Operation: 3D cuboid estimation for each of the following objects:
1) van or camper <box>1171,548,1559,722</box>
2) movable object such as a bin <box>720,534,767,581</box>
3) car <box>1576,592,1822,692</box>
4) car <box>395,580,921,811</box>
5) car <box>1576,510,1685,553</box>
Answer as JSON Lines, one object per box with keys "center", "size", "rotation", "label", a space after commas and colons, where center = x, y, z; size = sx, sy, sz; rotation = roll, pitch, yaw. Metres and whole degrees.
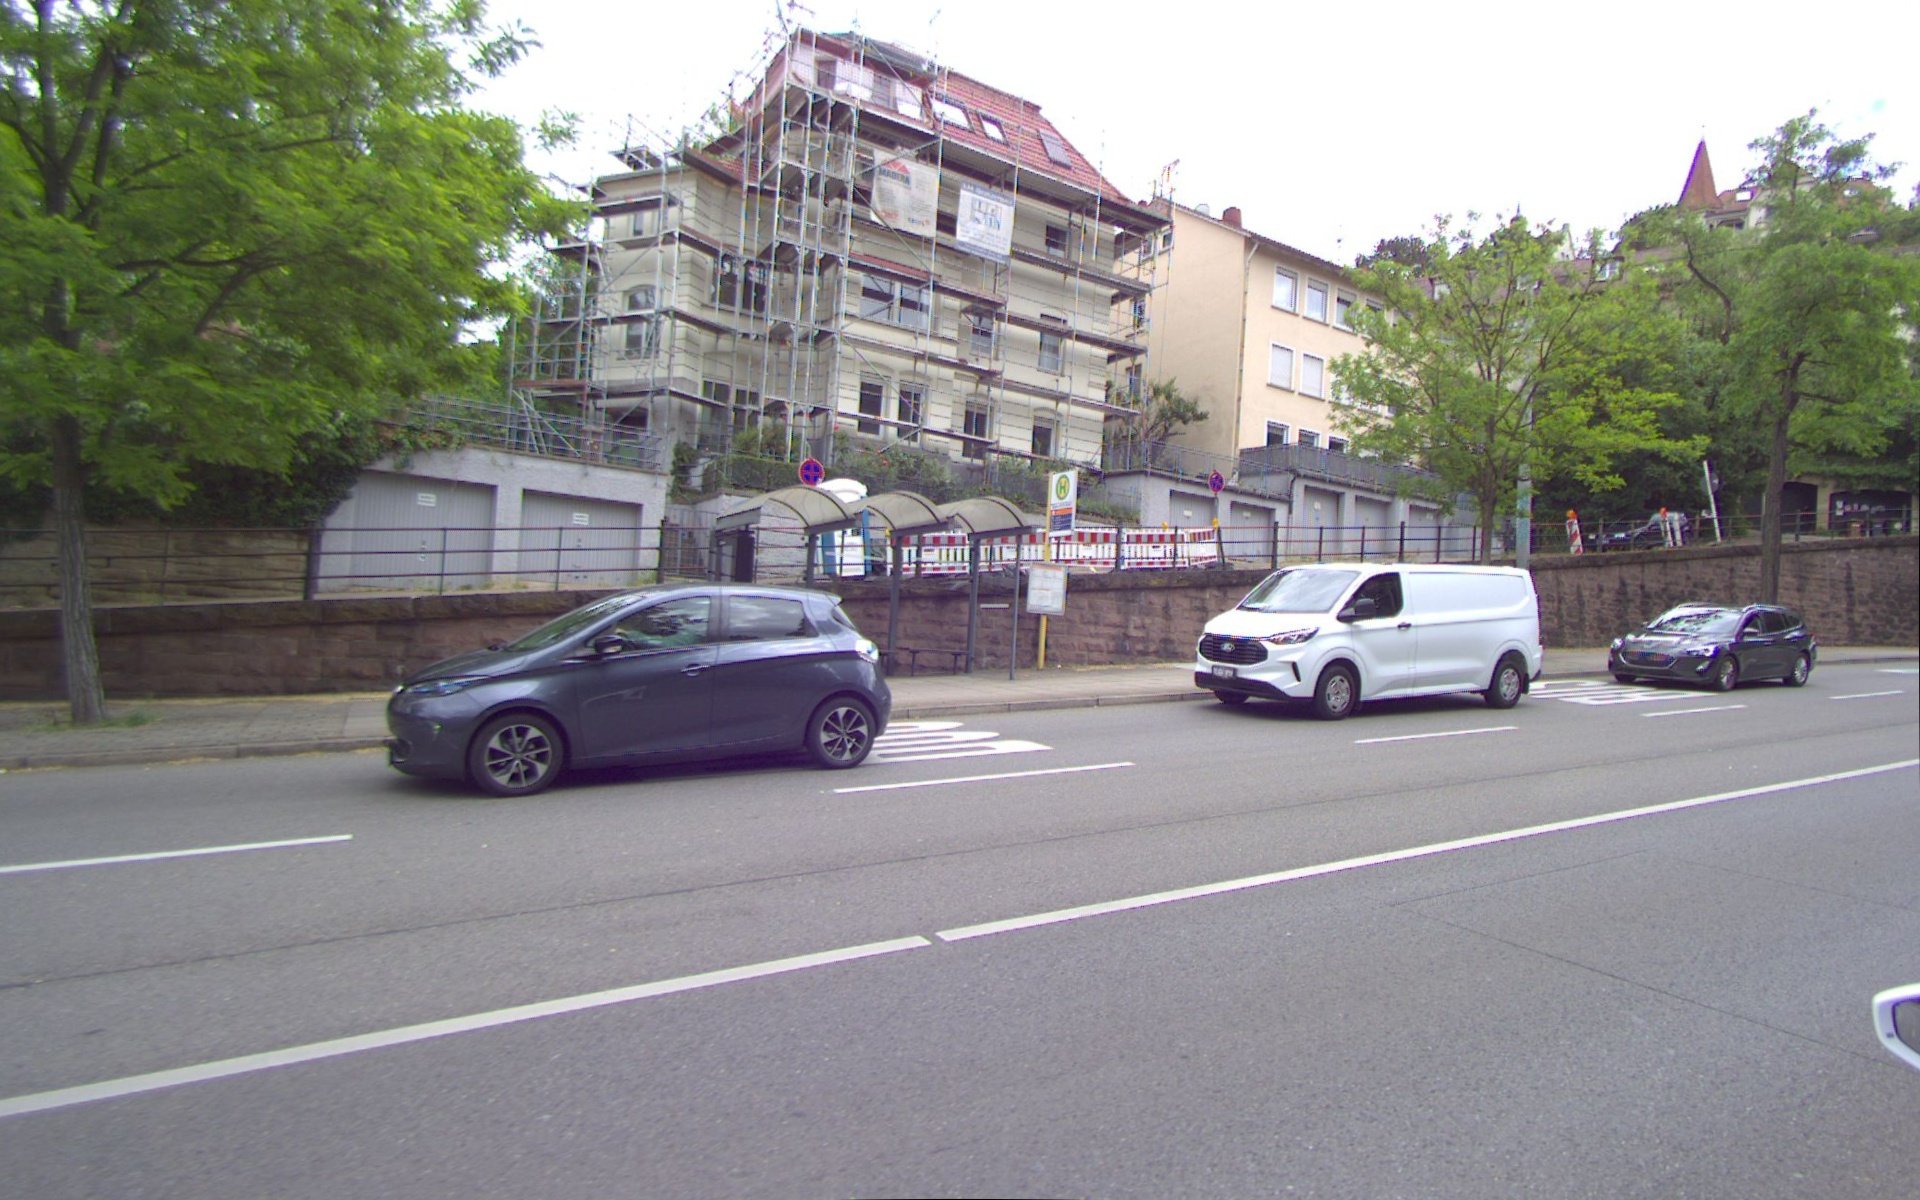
{"center": [5.714, 0.456, 13.962], "size": [5.493, 2.040, 1.985], "rotation": [1, 0, -29], "label": "van or camper"}
{"center": [-5.147, -0.995, 23.828], "size": [0.830, 1.056, 0.800], "rotation": [2, -1, -35], "label": "movable object such as a bin"}
{"center": [13.724, 0.705, 18.628], "size": [4.274, 1.640, 1.986], "rotation": [0, 1, -28], "label": "car"}
{"center": [-2.538, 0.651, 8.558], "size": [3.944, 1.541, 1.984], "rotation": [1, 1, -31], "label": "car"}
{"center": [24.811, -2.504, 37.173], "size": [3.543, 1.296, 1.550], "rotation": [1, -2, -19], "label": "car"}
